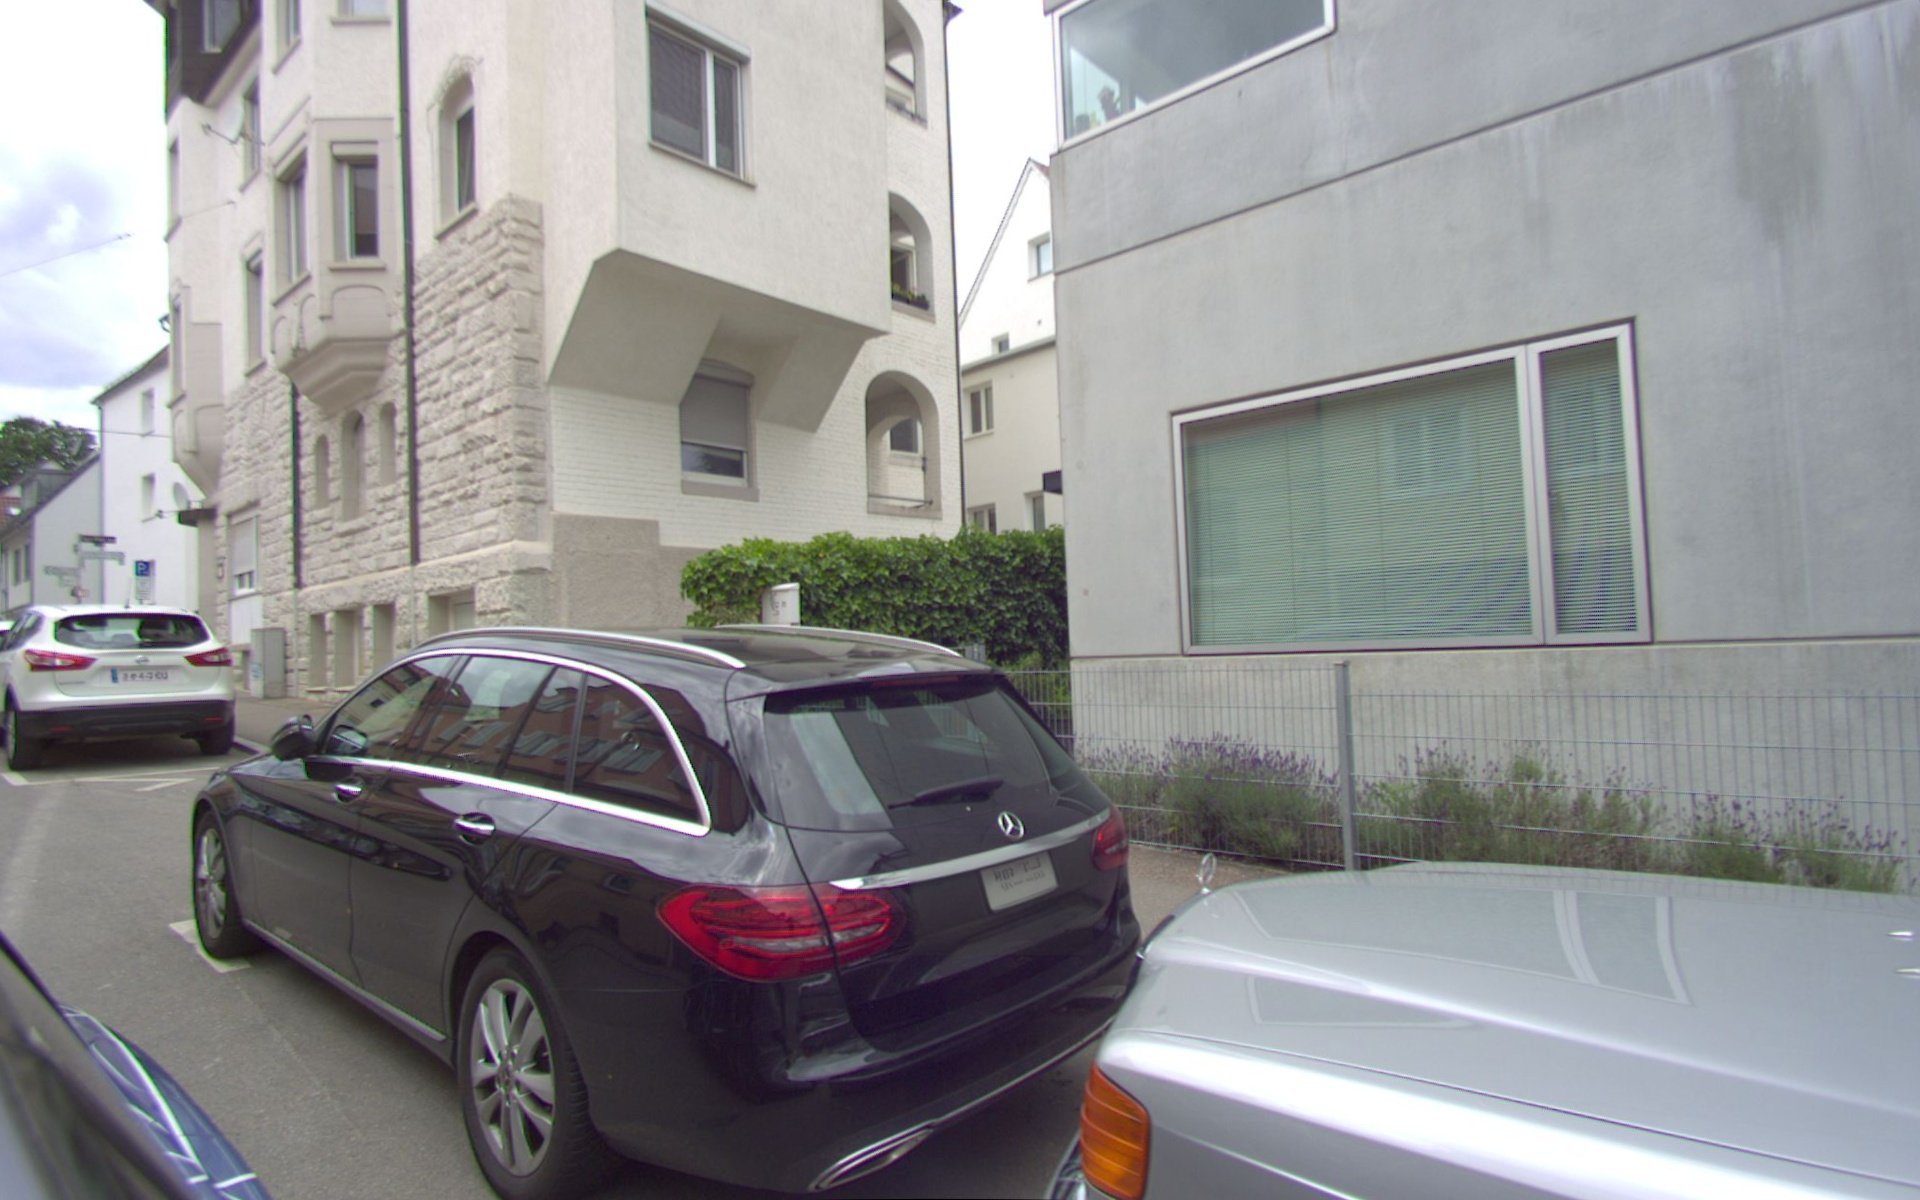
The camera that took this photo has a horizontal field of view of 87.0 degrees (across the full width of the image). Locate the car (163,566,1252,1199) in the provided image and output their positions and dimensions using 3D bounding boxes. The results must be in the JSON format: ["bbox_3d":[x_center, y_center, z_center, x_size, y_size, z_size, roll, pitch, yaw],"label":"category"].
[{"bbox_3d":[-1.380,0.742,3.905,4.469,1.539,1.876,-1,-1,41],"label":"car"}]

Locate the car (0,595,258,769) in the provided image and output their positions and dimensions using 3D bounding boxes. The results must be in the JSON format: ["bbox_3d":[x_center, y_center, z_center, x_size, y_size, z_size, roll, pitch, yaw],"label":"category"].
[{"bbox_3d":[-9.386,0.788,10.974,4.236,1.527,1.826,-2,-2,39],"label":"car"}]

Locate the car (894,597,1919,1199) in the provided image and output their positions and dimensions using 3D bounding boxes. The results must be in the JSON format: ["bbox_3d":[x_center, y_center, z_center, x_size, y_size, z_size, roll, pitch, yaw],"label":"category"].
[{"bbox_3d":[2.382,0.707,0.661,5.059,1.424,1.825,-1,-2,41],"label":"car"}]

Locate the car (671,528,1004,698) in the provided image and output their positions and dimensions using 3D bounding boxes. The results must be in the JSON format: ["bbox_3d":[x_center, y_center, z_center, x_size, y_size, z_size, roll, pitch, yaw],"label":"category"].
[{"bbox_3d":[-1.329,0.049,12.049,1.658,1.514,3.625,-1,6,43],"label":"car"}]

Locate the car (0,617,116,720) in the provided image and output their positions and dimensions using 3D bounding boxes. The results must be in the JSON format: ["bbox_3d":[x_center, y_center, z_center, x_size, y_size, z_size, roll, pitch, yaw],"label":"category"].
[{"bbox_3d":[-14.635,1.010,15.632,4.236,1.425,1.682,-2,-2,39],"label":"car"}]
